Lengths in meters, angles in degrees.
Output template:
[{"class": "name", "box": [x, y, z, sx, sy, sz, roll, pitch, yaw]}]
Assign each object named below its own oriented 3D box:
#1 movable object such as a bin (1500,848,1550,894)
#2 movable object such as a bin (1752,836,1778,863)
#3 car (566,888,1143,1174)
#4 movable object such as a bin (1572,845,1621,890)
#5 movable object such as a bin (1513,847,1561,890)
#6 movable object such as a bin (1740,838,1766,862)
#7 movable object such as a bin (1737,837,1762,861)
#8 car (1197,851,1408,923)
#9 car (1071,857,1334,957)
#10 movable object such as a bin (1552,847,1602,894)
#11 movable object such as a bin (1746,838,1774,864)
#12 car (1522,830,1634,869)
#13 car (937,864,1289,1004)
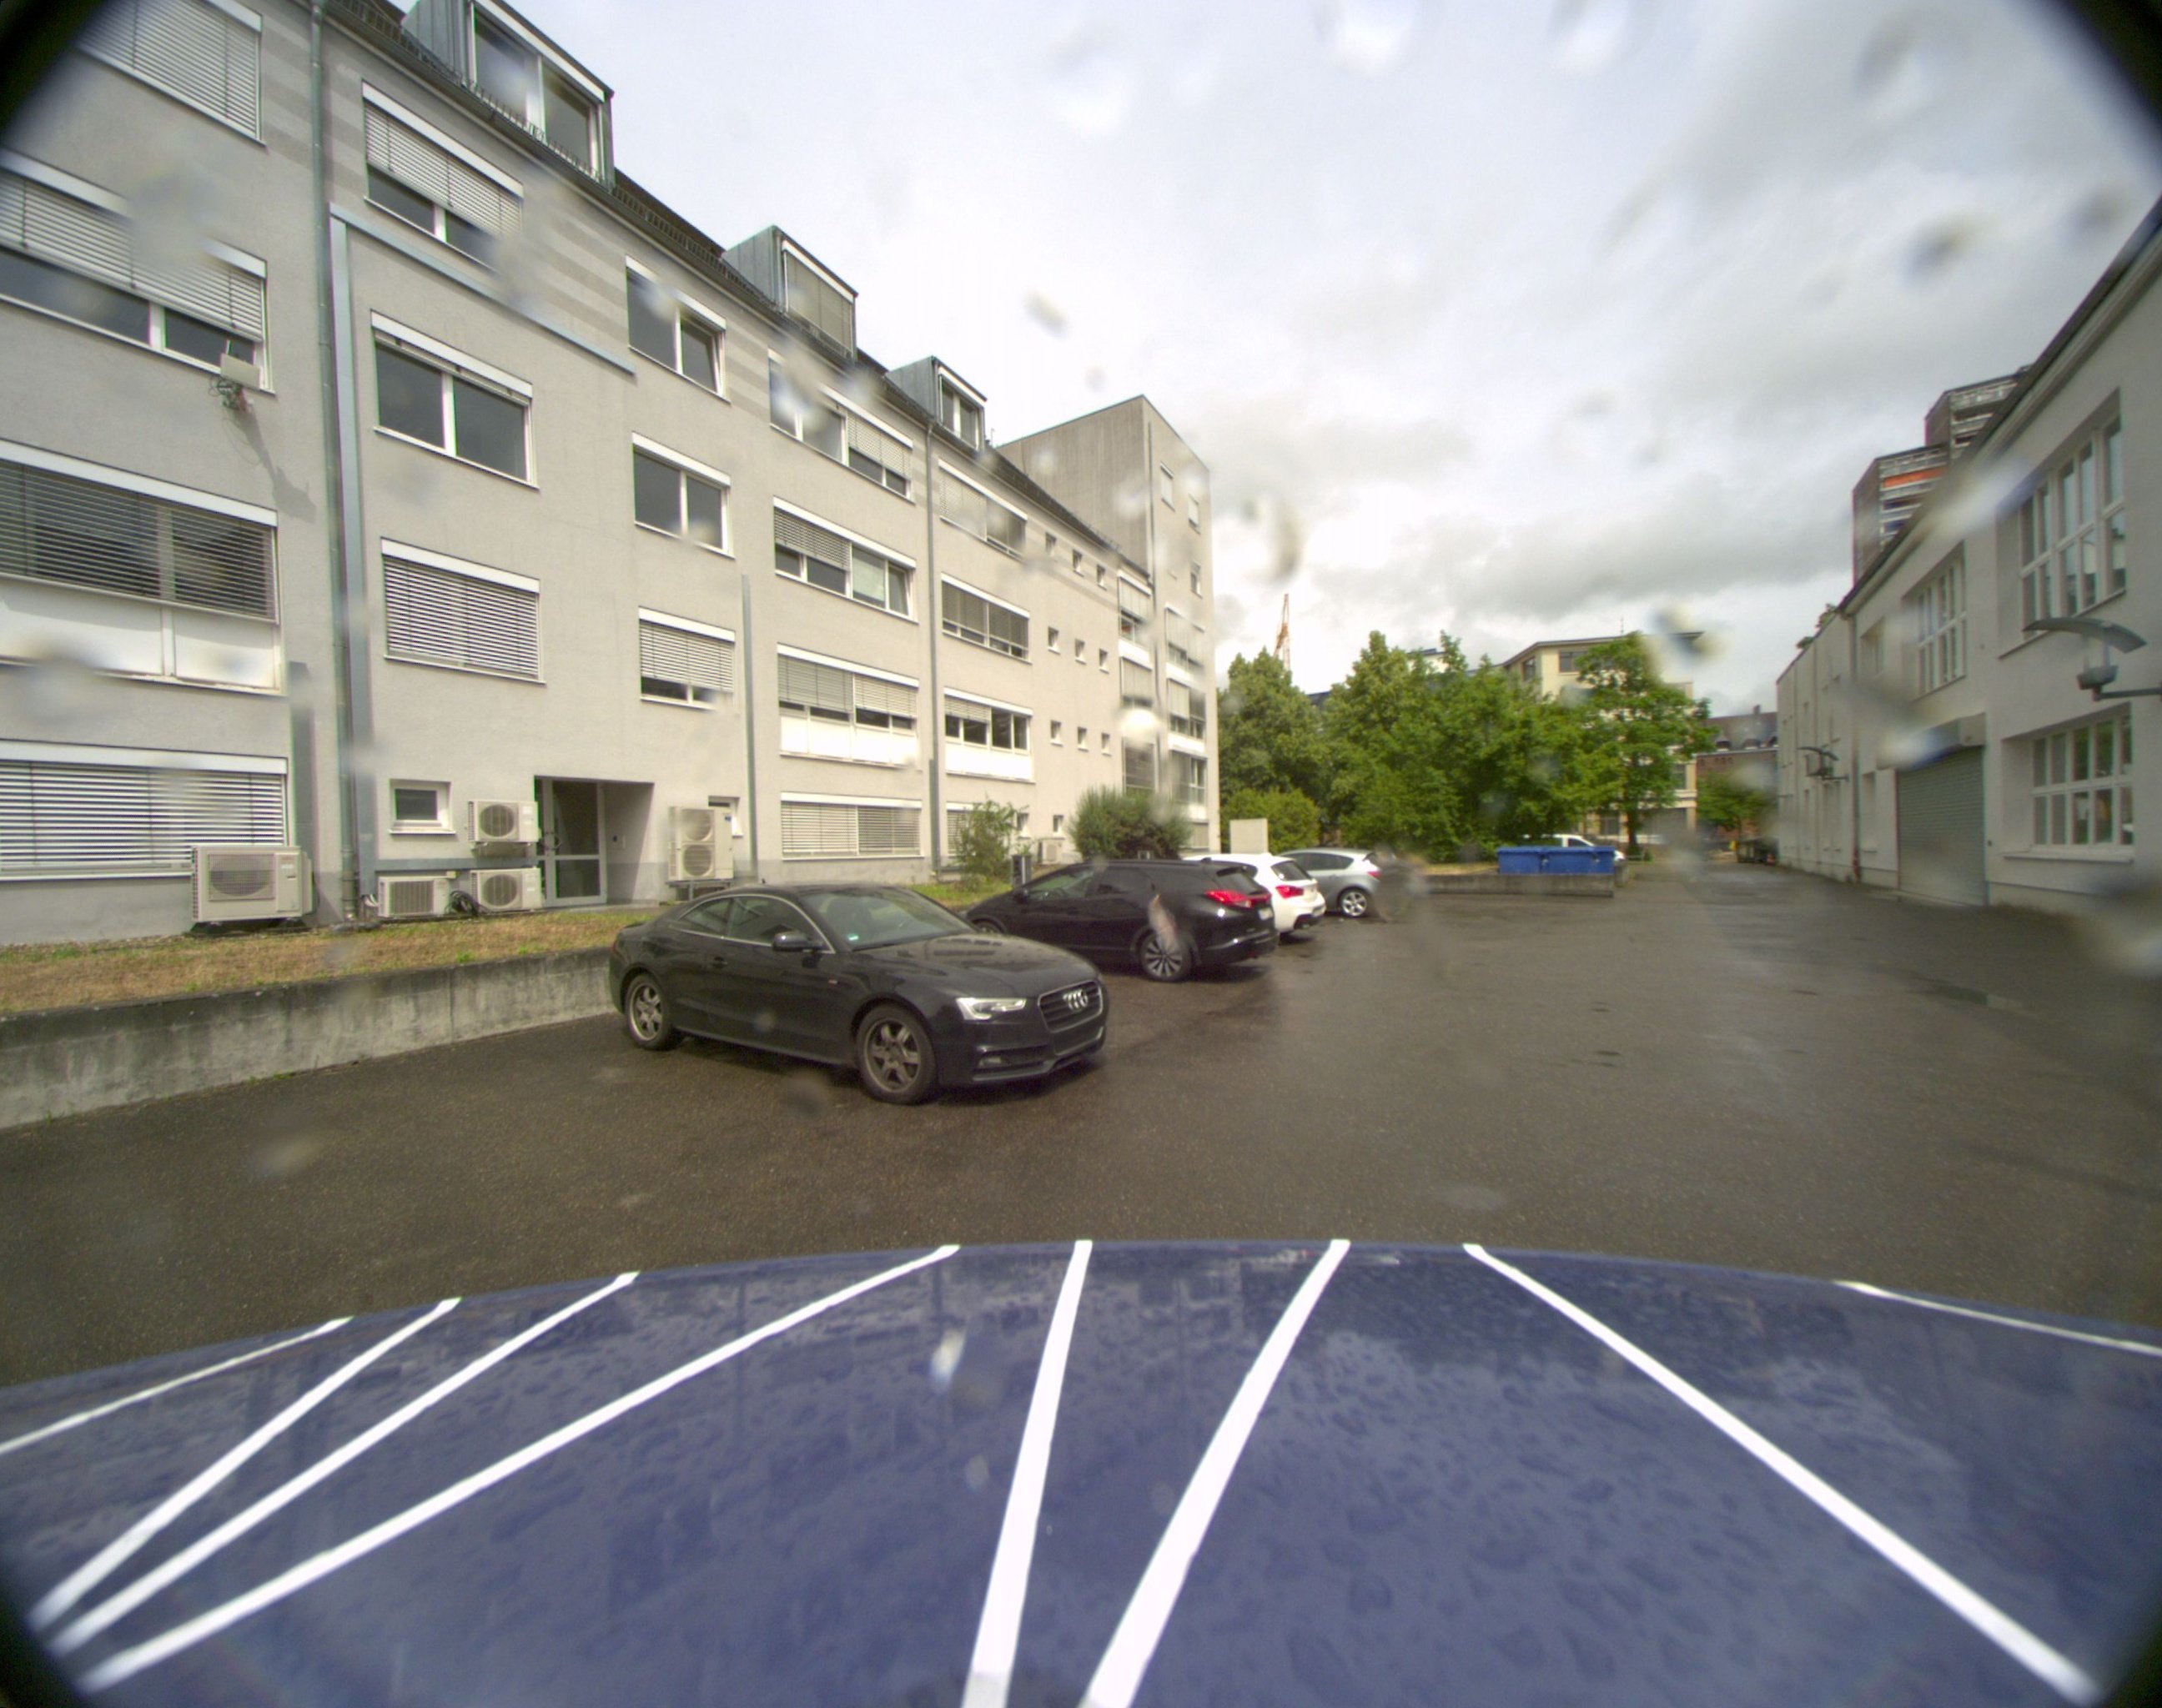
[{"class": "movable object such as a bin", "box": [13.631, 0.519, 23.327, 1.128, 1.321, 1.210, -1, 1, 39]}, {"class": "movable object such as a bin", "box": [35.658, -0.251, 39.624, 0.976, 1.348, 0.921, -1, 1, 40]}, {"class": "car", "box": [-1.946, 1.044, 6.025, 4.516, 1.344, 1.766, 0, 2, 31]}, {"class": "movable object such as a bin", "box": [16.090, 0.421, 23.690, 1.128, 1.321, 1.210, -1, 1, 39]}, {"class": "movable object such as a bin", "box": [14.756, 0.462, 24.578, 1.128, 1.321, 1.210, -1, 1, 39]}, {"class": "movable object such as a bin", "box": [38.401, -0.237, 43.462, 1.063, 1.348, 1.267, -1, 1, 40]}, {"class": "movable object such as a bin", "box": [39.215, -0.281, 44.573, 1.063, 1.348, 1.267, -1, 1, 40]}, {"class": "car", "box": [5.004, 0.676, 17.300, 4.304, 1.434, 1.766, 0, 2, 30]}, {"class": "car", "box": [2.035, 0.802, 13.090, 4.114, 1.434, 1.699, 0, 2, 32]}, {"class": "movable object such as a bin", "box": [14.692, 0.490, 22.516, 1.092, 1.318, 1.210, -1, 1, 39]}, {"class": "movable object such as a bin", "box": [36.688, -0.144, 41.062, 1.043, 1.348, 1.210, -1, 1, 40]}, {"class": "car", "box": [24.063, -0.184, 36.873, 4.322, 1.717, 1.726, -2, 1, 41]}, {"class": "car", "box": [0.358, 0.897, 10.079, 4.304, 1.434, 1.766, 0, 2, 30]}]
